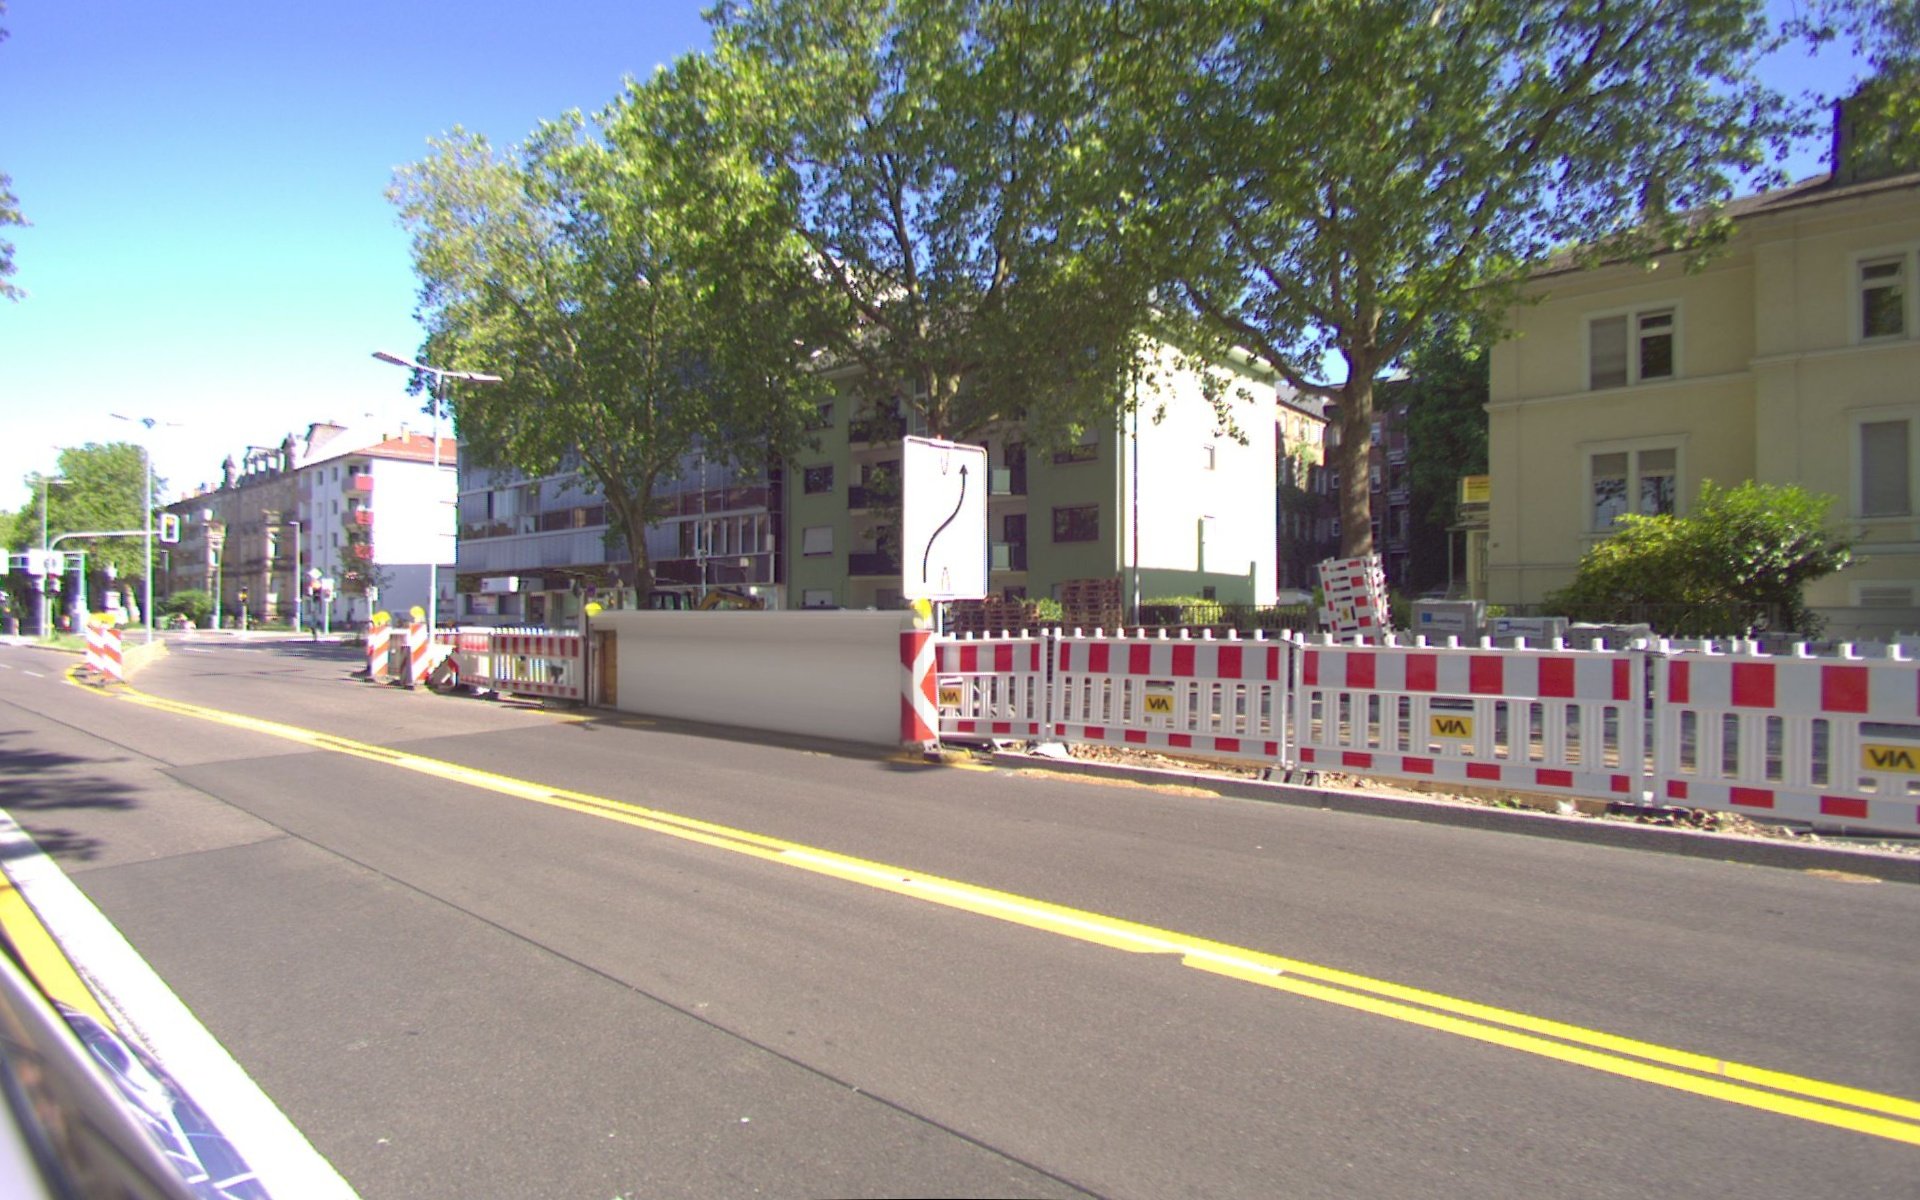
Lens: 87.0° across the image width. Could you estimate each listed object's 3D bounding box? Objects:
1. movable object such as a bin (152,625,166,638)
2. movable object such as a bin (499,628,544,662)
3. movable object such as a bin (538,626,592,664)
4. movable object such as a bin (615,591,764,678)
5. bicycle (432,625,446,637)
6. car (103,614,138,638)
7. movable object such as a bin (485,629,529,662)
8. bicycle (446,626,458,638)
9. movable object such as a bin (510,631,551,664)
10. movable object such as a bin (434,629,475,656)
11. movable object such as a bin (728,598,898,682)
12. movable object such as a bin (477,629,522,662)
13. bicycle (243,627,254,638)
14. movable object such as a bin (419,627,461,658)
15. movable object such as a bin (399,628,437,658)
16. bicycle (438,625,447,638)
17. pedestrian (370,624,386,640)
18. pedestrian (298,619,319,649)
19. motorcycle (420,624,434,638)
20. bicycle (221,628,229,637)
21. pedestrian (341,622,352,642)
[{"bbox_3d":[-84.947,3.329,107.314,1.473,1.371,0.883,-3,-5,42],"label":"movable object such as a bin"},{"bbox_3d":[-17.991,1.846,41.508,1.068,1.348,1.395,-1,-1,42],"label":"movable object such as a bin"},{"bbox_3d":[-15.470,1.745,39.653,1.251,1.433,1.627,-1,-1,15],"label":"movable object such as a bin"},{"bbox_3d":[-9.212,1.130,34.234,5.347,2.727,2.126,-1,-1,38],"label":"movable object such as a bin"},{"bbox_3d":[-42.584,2.562,82.718,0.567,0.976,1.738,0,-1,-44],"label":"bicycle"},{"bbox_3d":[-95.612,3.004,115.240,5.285,2.465,2.221,-3,-5,42],"label":"car"},{"bbox_3d":[-18.842,1.879,42.101,0.936,1.348,1.395,-1,-1,43],"label":"movable object such as a bin"},{"bbox_3d":[-40.345,2.561,80.372,0.471,0.955,1.954,0,-1,-40],"label":"bicycle"},{"bbox_3d":[-17.173,1.885,40.459,1.539,1.280,0.969,-1,-1,41],"label":"movable object such as a bin"},{"bbox_3d":[-23.302,1.947,46.659,1.241,1.212,1.379,-1,-1,44],"label":"movable object such as a bin"},{"bbox_3d":[-4.485,1.145,30.253,5.599,2.296,1.971,-1,-2,43],"label":"movable object such as a bin"},{"bbox_3d":[-19.537,1.909,42.958,1.157,1.348,1.395,-1,-1,43],"label":"movable object such as a bin"},{"bbox_3d":[-62.334,2.851,88.658,1.939,0.965,0.301,-2,-2,41],"label":"bicycle"},{"bbox_3d":[-24.587,1.996,47.830,1.855,1.399,1.201,-1,-1,43],"label":"movable object such as a bin"},{"bbox_3d":[-26.407,2.067,49.293,1.855,1.399,1.102,-1,-1,43],"label":"movable object such as a bin"},{"bbox_3d":[-41.013,2.506,80.217,0.500,0.985,1.890,0,-1,-33],"label":"bicycle"},{"bbox_3d":[-44.381,2.446,77.166,0.785,1.162,0.712,-1,-1,28],"label":"pedestrian"},{"bbox_3d":[-37.585,1.967,58.371,0.854,1.724,1.013,1,-2,-42],"label":"pedestrian"},{"bbox_3d":[-42.645,2.461,80.916,0.604,1.150,1.786,0,-1,-40],"label":"motorcycle"},{"bbox_3d":[-67.898,3.006,93.533,1.413,0.777,0.296,-2,-2,42],"label":"bicycle"},{"bbox_3d":[-47.946,2.486,79.133,0.695,1.508,0.593,-1,-2,44],"label":"pedestrian"}]
